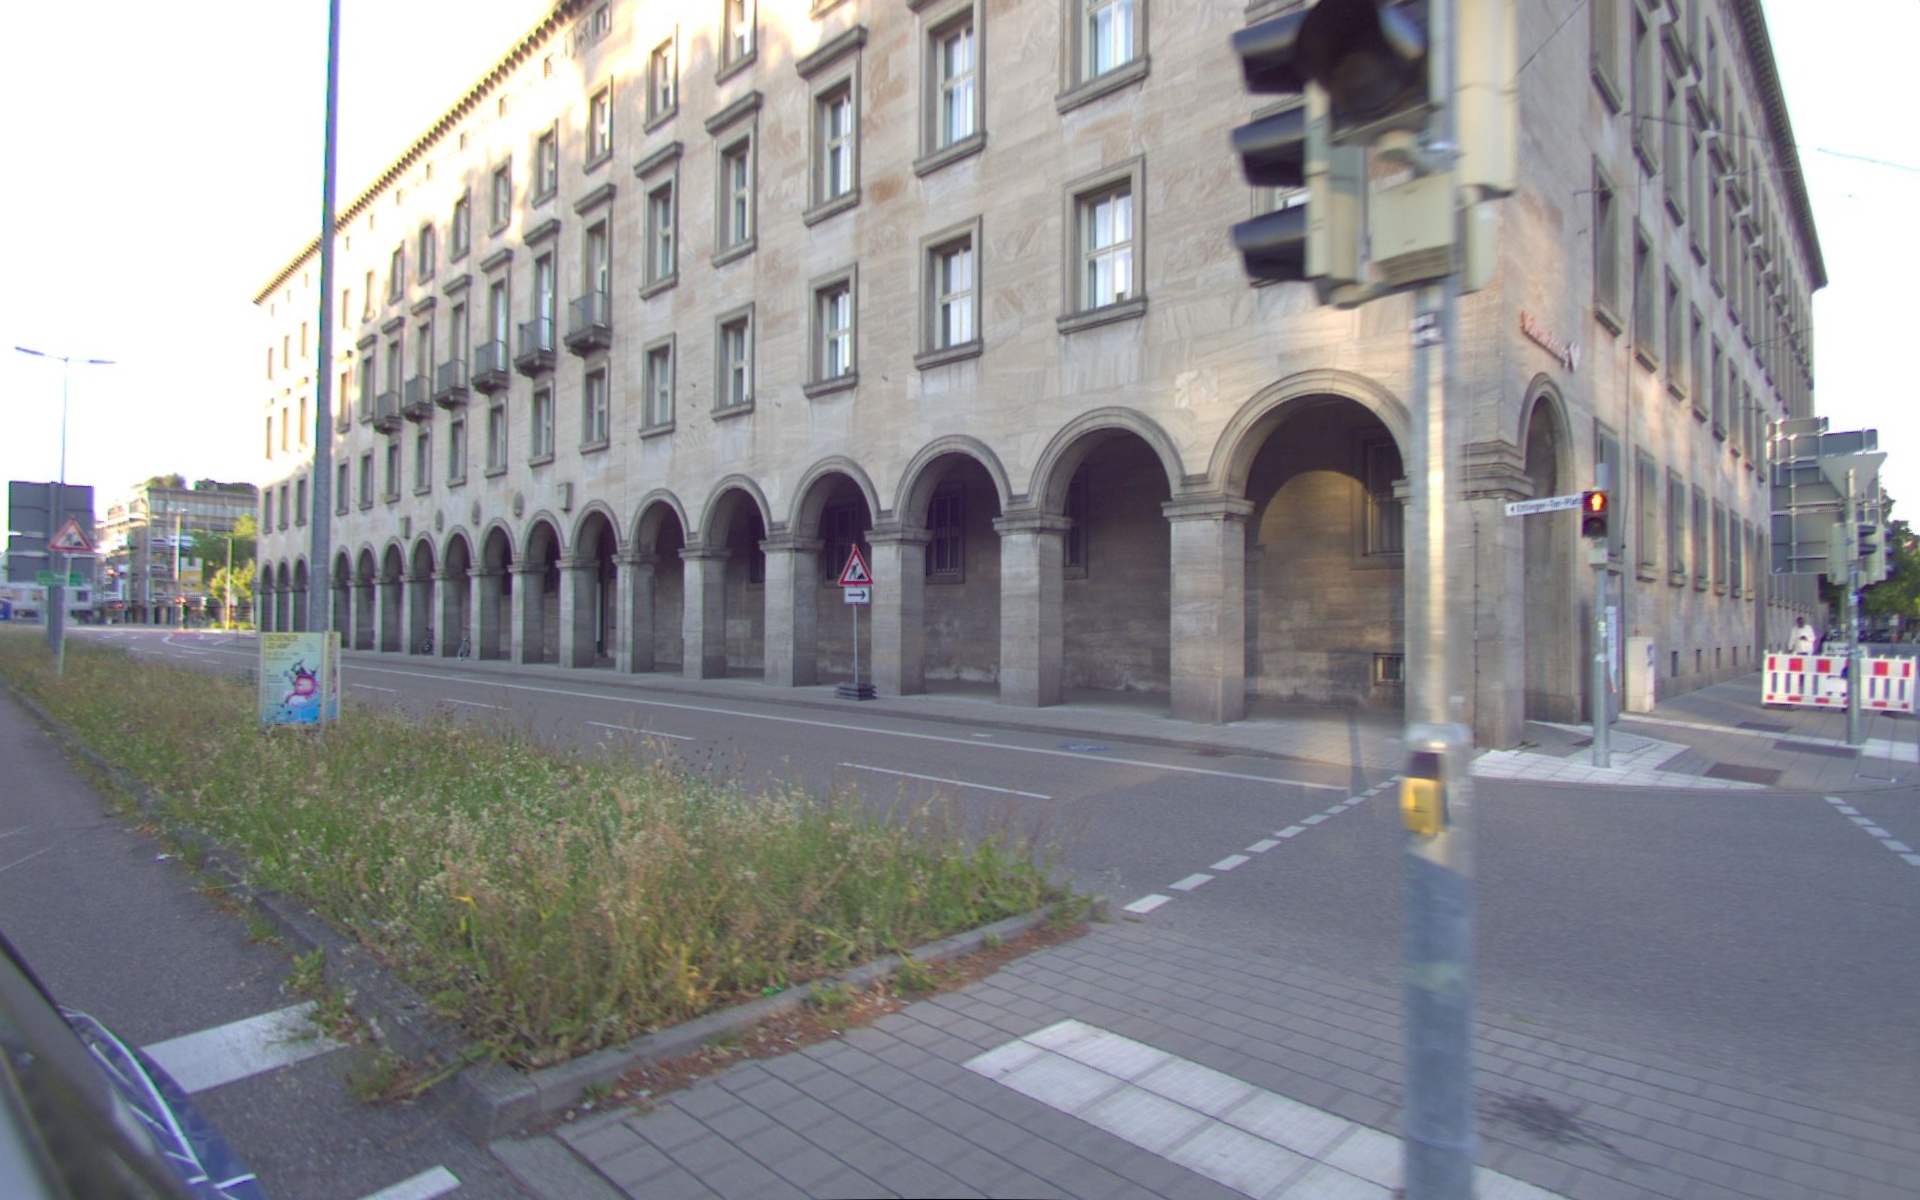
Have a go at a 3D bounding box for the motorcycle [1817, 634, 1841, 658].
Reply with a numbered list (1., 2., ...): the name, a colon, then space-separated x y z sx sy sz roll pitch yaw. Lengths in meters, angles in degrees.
1. motorcycle: 39.922 2.100 46.482 0.700 1.083 2.616 -2 -3 43

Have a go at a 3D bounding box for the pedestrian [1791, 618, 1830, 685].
1. pedestrian: 22.266 1.345 26.491 0.636 1.723 0.698 2 -2 -44
